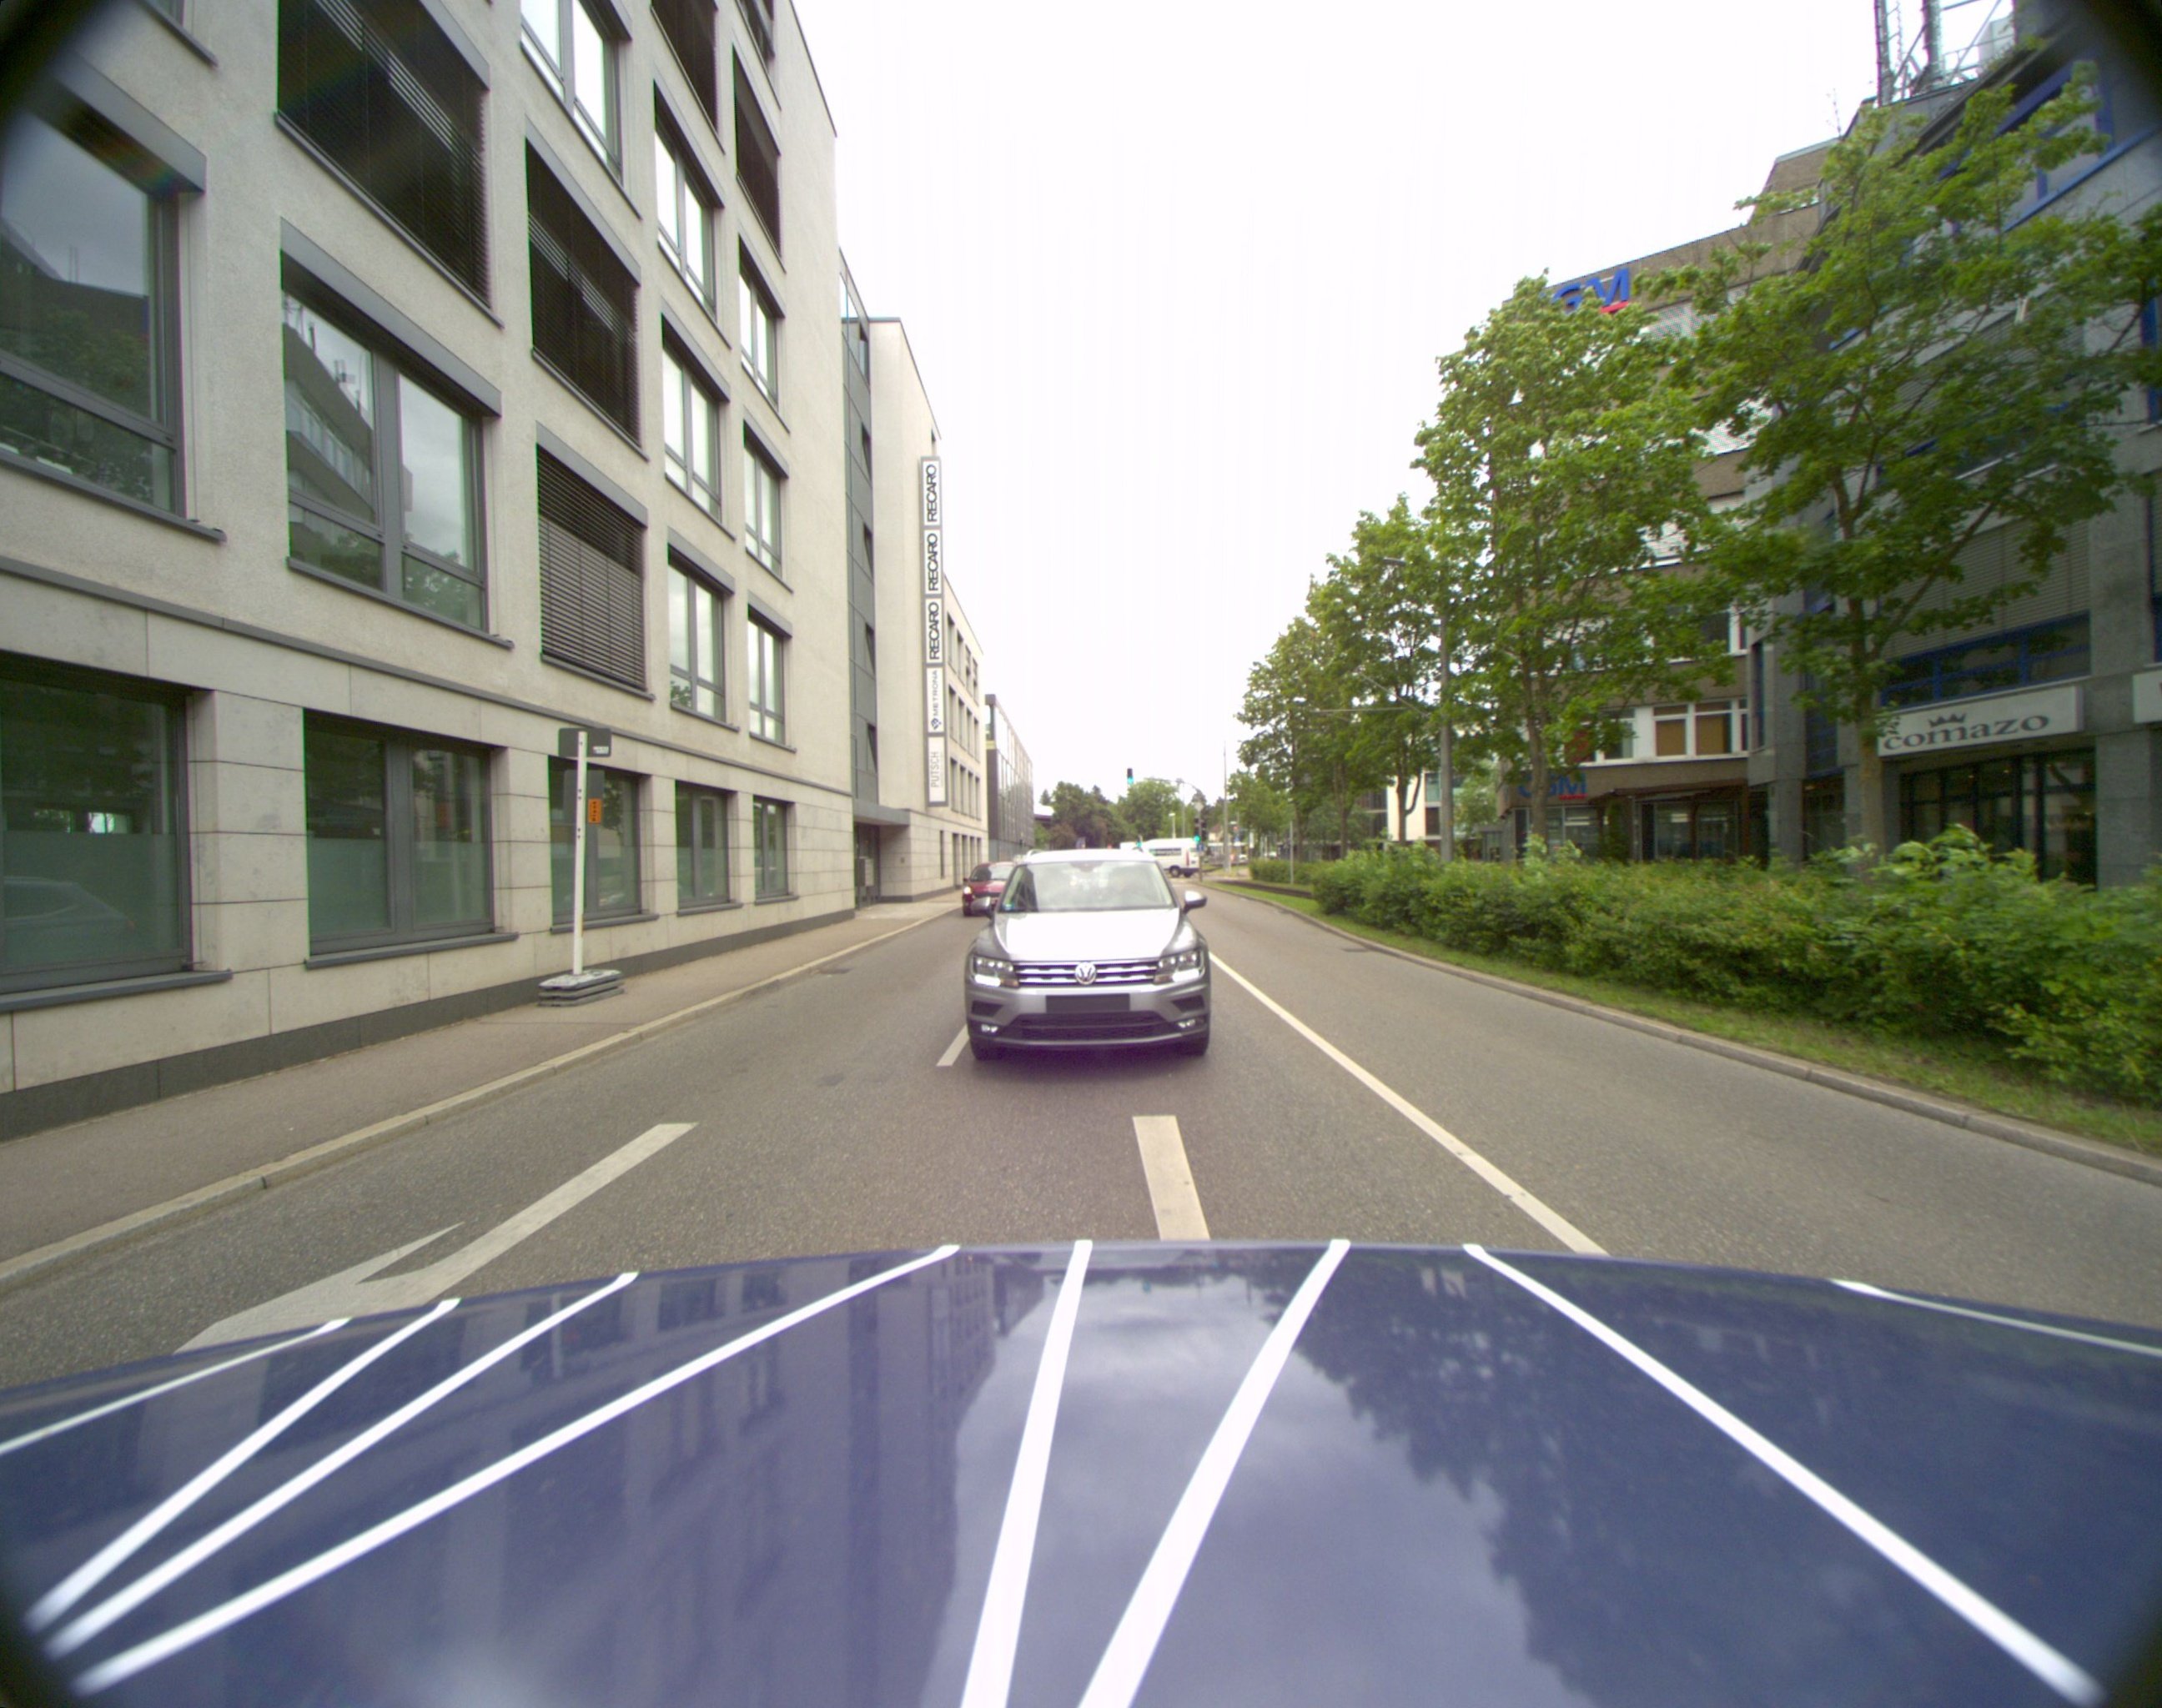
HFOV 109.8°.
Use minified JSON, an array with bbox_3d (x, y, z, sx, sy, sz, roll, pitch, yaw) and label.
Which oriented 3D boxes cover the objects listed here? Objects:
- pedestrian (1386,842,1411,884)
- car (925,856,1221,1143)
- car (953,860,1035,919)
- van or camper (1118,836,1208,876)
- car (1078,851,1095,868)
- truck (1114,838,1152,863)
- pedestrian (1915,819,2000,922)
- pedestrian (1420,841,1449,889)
[{"bbox_3d":[14.662,0.394,35.111,0.816,1.912,0.731,-2,1,0],"label":"pedestrian"},{"bbox_3d":[-0.014,0.914,6.930,1.798,1.716,4.458,-1,0,1],"label":"car"},{"bbox_3d":[-2.529,1.004,23.007,1.890,1.483,4.000,-4,0,1],"label":"car"},{"bbox_3d":[5.842,0.179,54.733,6.134,2.718,2.118,-1,1,37],"label":"van or camper"},{"bbox_3d":[0.711,0.679,96.080,1.998,2.002,4.000,-2,1,1],"label":"car"},{"bbox_3d":[8.128,-0.616,116.891,2.317,3.626,8.024,-1,1,31],"label":"truck"},{"bbox_3d":[16.605,0.302,14.408,0.776,1.883,0.731,-2,1,-1],"label":"pedestrian"},{"bbox_3d":[13.391,0.411,28.796,0.680,1.795,0.731,-2,1,-4],"label":"pedestrian"}]
